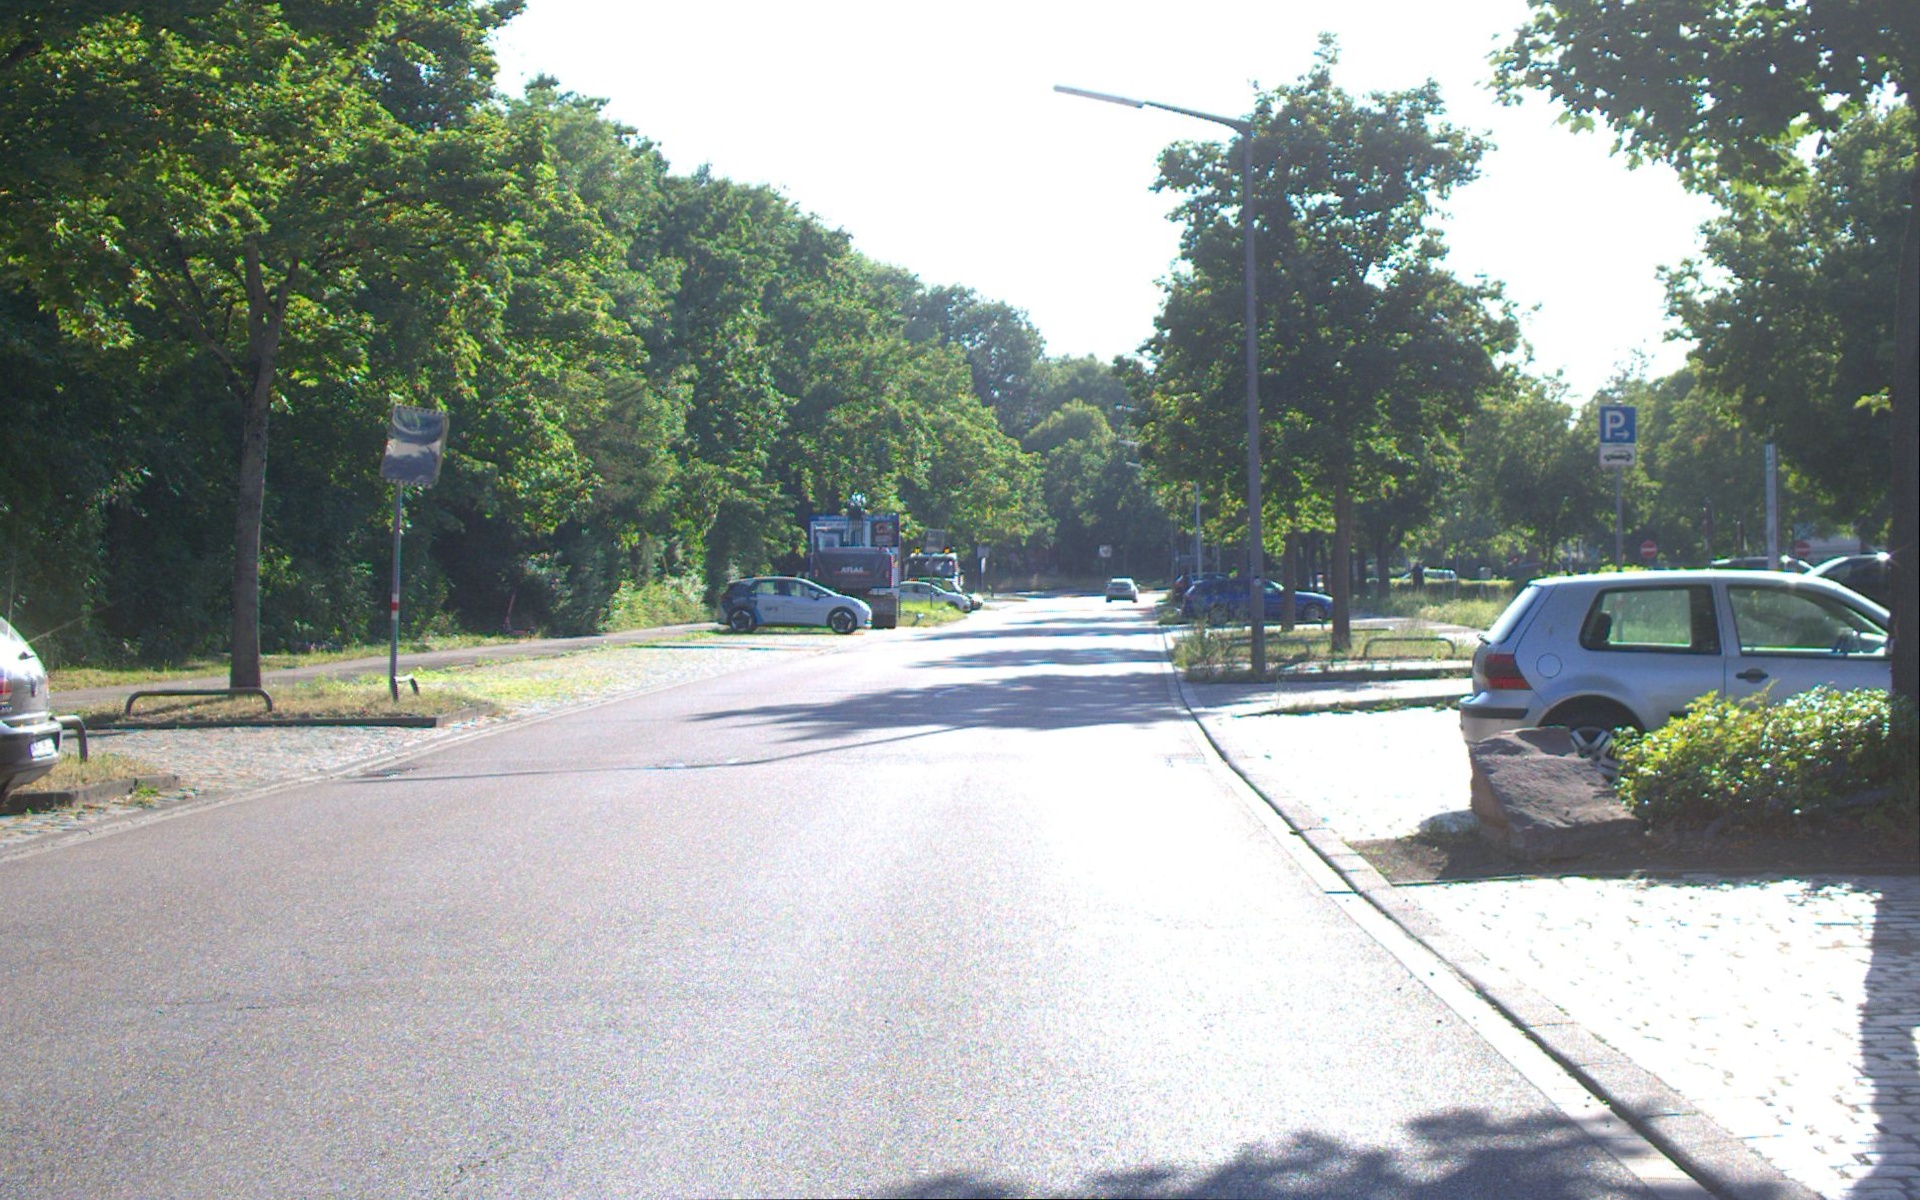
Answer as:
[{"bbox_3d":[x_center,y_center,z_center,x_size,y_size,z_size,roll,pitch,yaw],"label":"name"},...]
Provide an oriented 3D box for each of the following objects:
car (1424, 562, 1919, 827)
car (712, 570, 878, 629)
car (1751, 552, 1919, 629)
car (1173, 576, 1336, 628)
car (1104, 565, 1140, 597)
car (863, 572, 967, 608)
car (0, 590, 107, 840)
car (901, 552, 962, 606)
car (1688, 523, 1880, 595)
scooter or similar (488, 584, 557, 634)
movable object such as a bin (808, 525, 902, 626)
[{"bbox_3d":[5.177,0.539,21.551,4.360,1.474,1.999,-3,0,10],"label":"car"},{"bbox_3d":[-4.538,-0.017,95.119,4.359,1.542,2.000,-1,1,4],"label":"car"},{"bbox_3d":[20.410,-0.230,78.111,4.429,1.700,2.059,-1,0,2],"label":"car"},{"bbox_3d":[8.870,0.048,103.718,4.842,1.474,2.000,-1,1,4],"label":"car"},{"bbox_3d":[9.890,-1.158,210.083,1.993,1.897,4.000,-1,0,1],"label":"car"},{"bbox_3d":[-1.947,-0.419,147.969,4.358,1.474,2.000,-1,1,-3],"label":"car"},{"bbox_3d":[-7.813,0.644,21.650,4.358,1.474,2.000,1,1,0],"label":"car"},{"bbox_3d":[-1.326,-0.972,157.554,2.516,2.378,4.373,-1,0,-4],"label":"car"},{"bbox_3d":[20.505,-1.028,85.686,4.359,1.700,2.000,-1,1,5],"label":"car"},{"bbox_3d":[-10.257,0.203,80.613,0.577,1.141,1.580,-1,0,43],"label":"scooter or similar"},{"bbox_3d":[-3.274,-0.759,107.762,2.838,3.058,4.927,-1,0,-1],"label":"movable object such as a bin"}]
